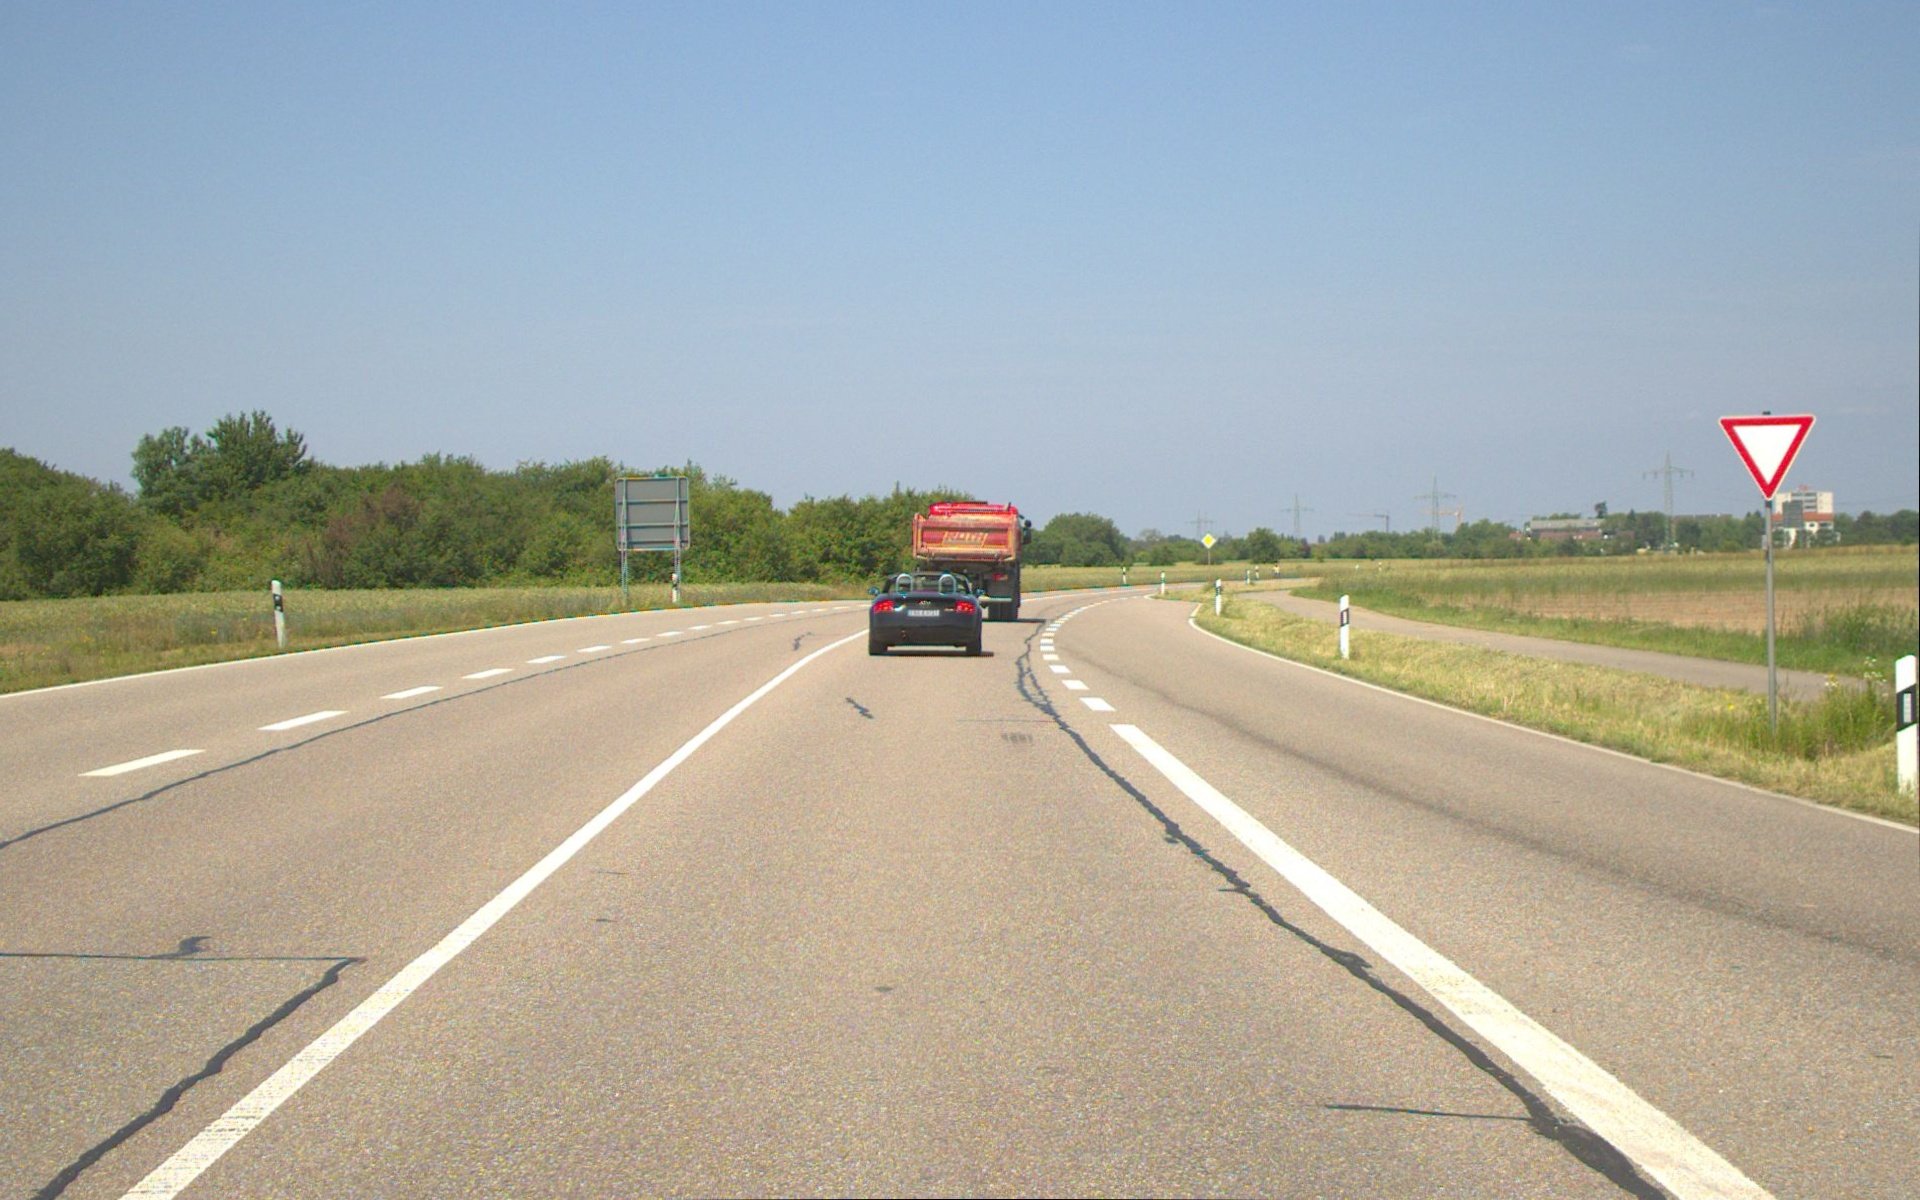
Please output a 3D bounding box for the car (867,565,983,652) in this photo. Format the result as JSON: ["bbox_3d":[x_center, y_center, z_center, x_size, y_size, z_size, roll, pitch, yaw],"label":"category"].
[{"bbox_3d":[-0.515,0.110,53.814,1.744,1.275,4.000,1,1,0],"label":"car"}]

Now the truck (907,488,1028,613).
[{"bbox_3d":[0.254,-1.237,88.229,2.938,3.078,7.196,0,0,1],"label":"truck"}]
